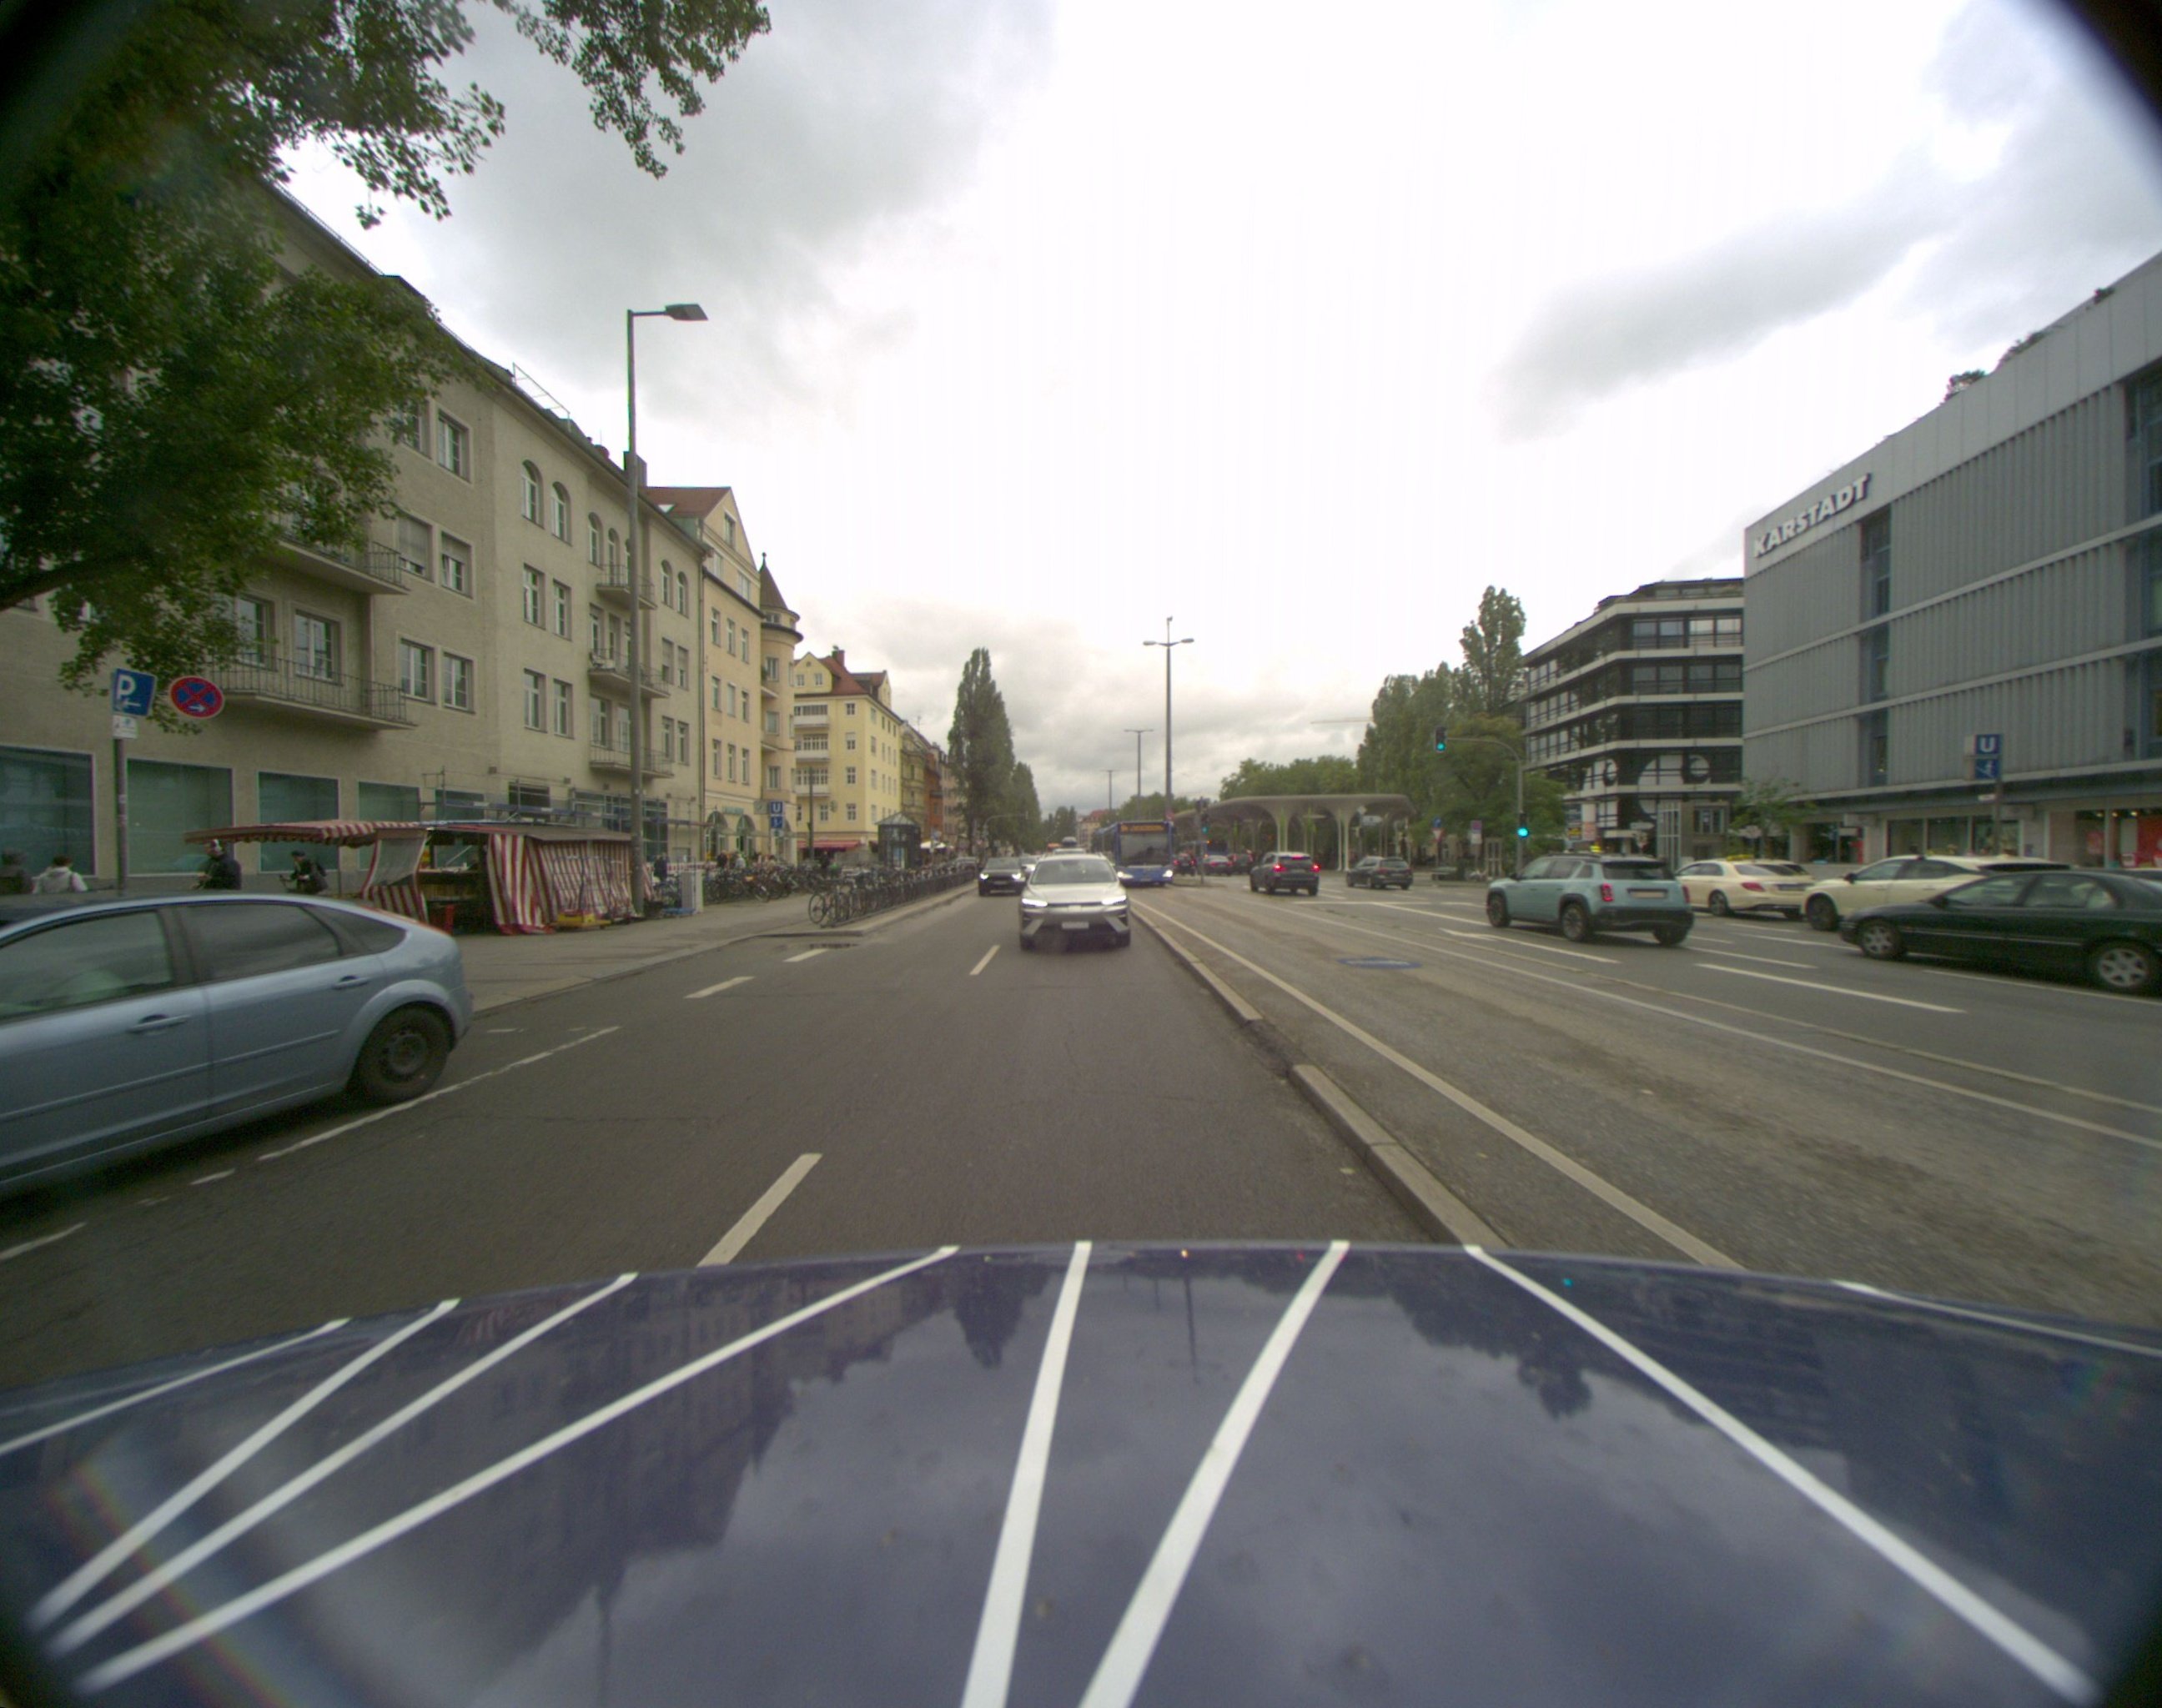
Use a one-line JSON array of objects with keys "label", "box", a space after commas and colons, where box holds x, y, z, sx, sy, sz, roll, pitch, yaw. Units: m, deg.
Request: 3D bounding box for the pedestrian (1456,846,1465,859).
[{"label": "pedestrian", "box": [47.394, -0.182, 95.006, 0.800, 1.714, 0.827, 0, 1, 11]}]

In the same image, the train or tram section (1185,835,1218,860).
[{"label": "train or tram section", "box": [14.770, -0.750, 93.634, 2.841, 2.983, 7.406, 0, 0, -1]}]

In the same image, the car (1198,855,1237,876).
[{"label": "car", "box": [10.247, 0.817, 57.549, 1.999, 1.499, 5.021, 0, 0, -1]}]

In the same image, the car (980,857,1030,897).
[{"label": "car", "box": [-3.030, 0.876, 31.008, 1.740, 1.462, 4.049, -1, 0, -2]}]

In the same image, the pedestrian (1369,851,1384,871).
[{"label": "pedestrian", "box": [25.211, 0.594, 64.889, 0.861, 1.767, 0.980, 0, 1, 0]}]

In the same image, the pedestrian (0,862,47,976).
[{"label": "pedestrian", "box": [-16.514, 0.979, 11.629, 0.580, 1.691, 0.597, 0, 1, 7]}]

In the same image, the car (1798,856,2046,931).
[{"label": "car", "box": [19.659, 0.830, 18.065, 1.755, 1.528, 4.002, 0, 1, 7]}]

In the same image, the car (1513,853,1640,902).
[{"label": "car", "box": [17.728, 0.783, 27.467, 1.591, 1.603, 4.476, 0, 1, -1]}]

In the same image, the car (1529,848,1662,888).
[{"label": "car", "box": [20.546, 0.510, 30.580, 1.861, 1.502, 4.292, 0, 0, -15]}]

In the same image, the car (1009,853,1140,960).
[{"label": "car", "box": [-0.092, 0.779, 13.337, 1.896, 1.483, 3.999, -2, 1, 0]}]

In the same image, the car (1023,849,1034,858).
[{"label": "car", "box": [-10.341, -0.101, 149.494, 1.999, 1.630, 3.999, 0, 0, -1]}]

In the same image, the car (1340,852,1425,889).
[{"label": "car", "box": [13.808, 0.702, 35.136, 1.964, 1.537, 4.947, 0, 0, 0]}]

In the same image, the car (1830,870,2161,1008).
[{"label": "car", "box": [12.686, 0.963, 9.704, 1.733, 1.401, 4.688, 0, 0, 2]}]

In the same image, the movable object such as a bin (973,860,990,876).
[{"label": "movable object such as a bin", "box": [-6.672, 0.937, 50.990, 1.089, 1.056, 0.747, 1, 1, -4]}]

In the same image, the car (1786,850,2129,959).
[{"label": "car", "box": [16.122, 0.797, 14.437, 1.888, 1.689, 4.386, 1, 1, 10]}]

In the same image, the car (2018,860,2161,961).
[{"label": "car", "box": [18.513, 0.941, 12.420, 1.775, 1.607, 4.002, 0, 1, 9]}]

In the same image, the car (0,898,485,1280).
[{"label": "car", "box": [-5.406, 1.102, 3.559, 1.729, 1.445, 4.148, -3, 0, 3]}]

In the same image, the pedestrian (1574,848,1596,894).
[{"label": "pedestrian", "box": [19.255, 0.655, 29.044, 0.525, 1.719, 0.428, -2, 2, -1]}]

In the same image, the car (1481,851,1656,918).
[{"label": "car", "box": [12.768, 0.723, 20.292, 1.998, 1.591, 4.289, 0, 1, 2]}]

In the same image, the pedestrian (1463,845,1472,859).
[{"label": "pedestrian", "box": [48.342, -0.214, 95.051, 0.800, 1.714, 0.827, 0, 1, 11]}]

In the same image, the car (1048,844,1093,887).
[{"label": "car", "box": [-0.509, 0.497, 36.817, 1.999, 1.889, 4.234, -2, 1, -1]}]

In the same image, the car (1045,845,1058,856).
[{"label": "car", "box": [-4.564, -0.535, 117.912, 1.859, 1.696, 3.999, 0, 1, -2]}]

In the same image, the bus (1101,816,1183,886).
[{"label": "bus", "box": [2.758, -0.214, 38.067, 2.942, 2.927, 11.210, -1, 1, -1]}]

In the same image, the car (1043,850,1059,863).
[{"label": "car", "box": [-3.774, 0.309, 95.580, 1.999, 1.630, 3.998, 0, 0, -3]}]

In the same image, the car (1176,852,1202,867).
[{"label": "car", "box": [11.784, 0.615, 83.128, 1.999, 1.567, 4.615, 0, 0, -2]}]

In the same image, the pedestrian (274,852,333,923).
[{"label": "pedestrian", "box": [-18.364, 0.779, 17.961, 0.602, 1.641, 0.765, 0, 1, -2]}]

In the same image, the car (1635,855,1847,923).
[{"label": "car", "box": [17.098, 0.821, 20.088, 1.949, 1.532, 4.850, 0, 0, 9]}]

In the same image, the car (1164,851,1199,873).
[{"label": "car", "box": [7.191, 0.560, 54.485, 1.562, 1.498, 2.785, -1, 1, -14]}]

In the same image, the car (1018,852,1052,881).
[{"label": "car", "box": [-3.003, 0.796, 50.288, 1.999, 1.740, 3.999, -2, 1, -1]}]

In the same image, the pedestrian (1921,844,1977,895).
[{"label": "pedestrian", "box": [26.903, 0.477, 23.563, 0.732, 1.537, 0.900, 0, 1, 12]}]

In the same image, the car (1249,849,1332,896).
[{"label": "car", "box": [7.972, 0.648, 29.360, 1.998, 1.611, 4.413, 1, 1, 1]}]

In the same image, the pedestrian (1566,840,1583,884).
[{"label": "pedestrian", "box": [18.736, 0.310, 28.864, 0.365, 1.646, 0.425, -2, 2, -1]}]

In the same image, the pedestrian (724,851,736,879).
[{"label": "pedestrian", "box": [-19.215, 0.601, 41.543, 0.567, 1.533, 0.589, -1, 2, -25]}]

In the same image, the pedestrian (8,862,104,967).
[{"label": "pedestrian", "box": [-15.851, 0.912, 11.765, 0.643, 1.574, 0.635, 0, 1, 7]}]

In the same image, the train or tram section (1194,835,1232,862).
[{"label": "train or tram section", "box": [14.905, -0.627, 86.214, 2.841, 2.983, 7.406, 0, 0, -1]}]

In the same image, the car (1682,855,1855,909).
[{"label": "car", "box": [21.515, 0.815, 24.039, 1.911, 1.558, 4.000, 0, 0, 1]}]

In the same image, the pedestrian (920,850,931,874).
[{"label": "pedestrian", "box": [-11.469, 0.572, 56.147, 0.641, 1.767, 0.609, -1, 1, -24]}]

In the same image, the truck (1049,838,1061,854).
[{"label": "truck", "box": [-5.764, -1.833, 170.463, 2.541, 3.468, 7.750, 0, 0, -1]}]

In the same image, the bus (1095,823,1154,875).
[{"label": "bus", "box": [2.589, -0.399, 49.270, 2.942, 2.927, 11.210, -1, 1, -1]}]

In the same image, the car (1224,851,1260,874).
[{"label": "car", "box": [12.875, 0.666, 61.135, 1.998, 1.767, 4.599, 0, 0, 1]}]

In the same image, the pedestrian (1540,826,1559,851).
[{"label": "pedestrian", "box": [24.949, -0.807, 40.445, 0.544, 1.301, 0.774, 0, 1, 0]}]

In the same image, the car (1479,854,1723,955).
[{"label": "car", "box": [9.418, 0.815, 14.239, 1.822, 1.536, 4.000, 2, 1, 1]}]
